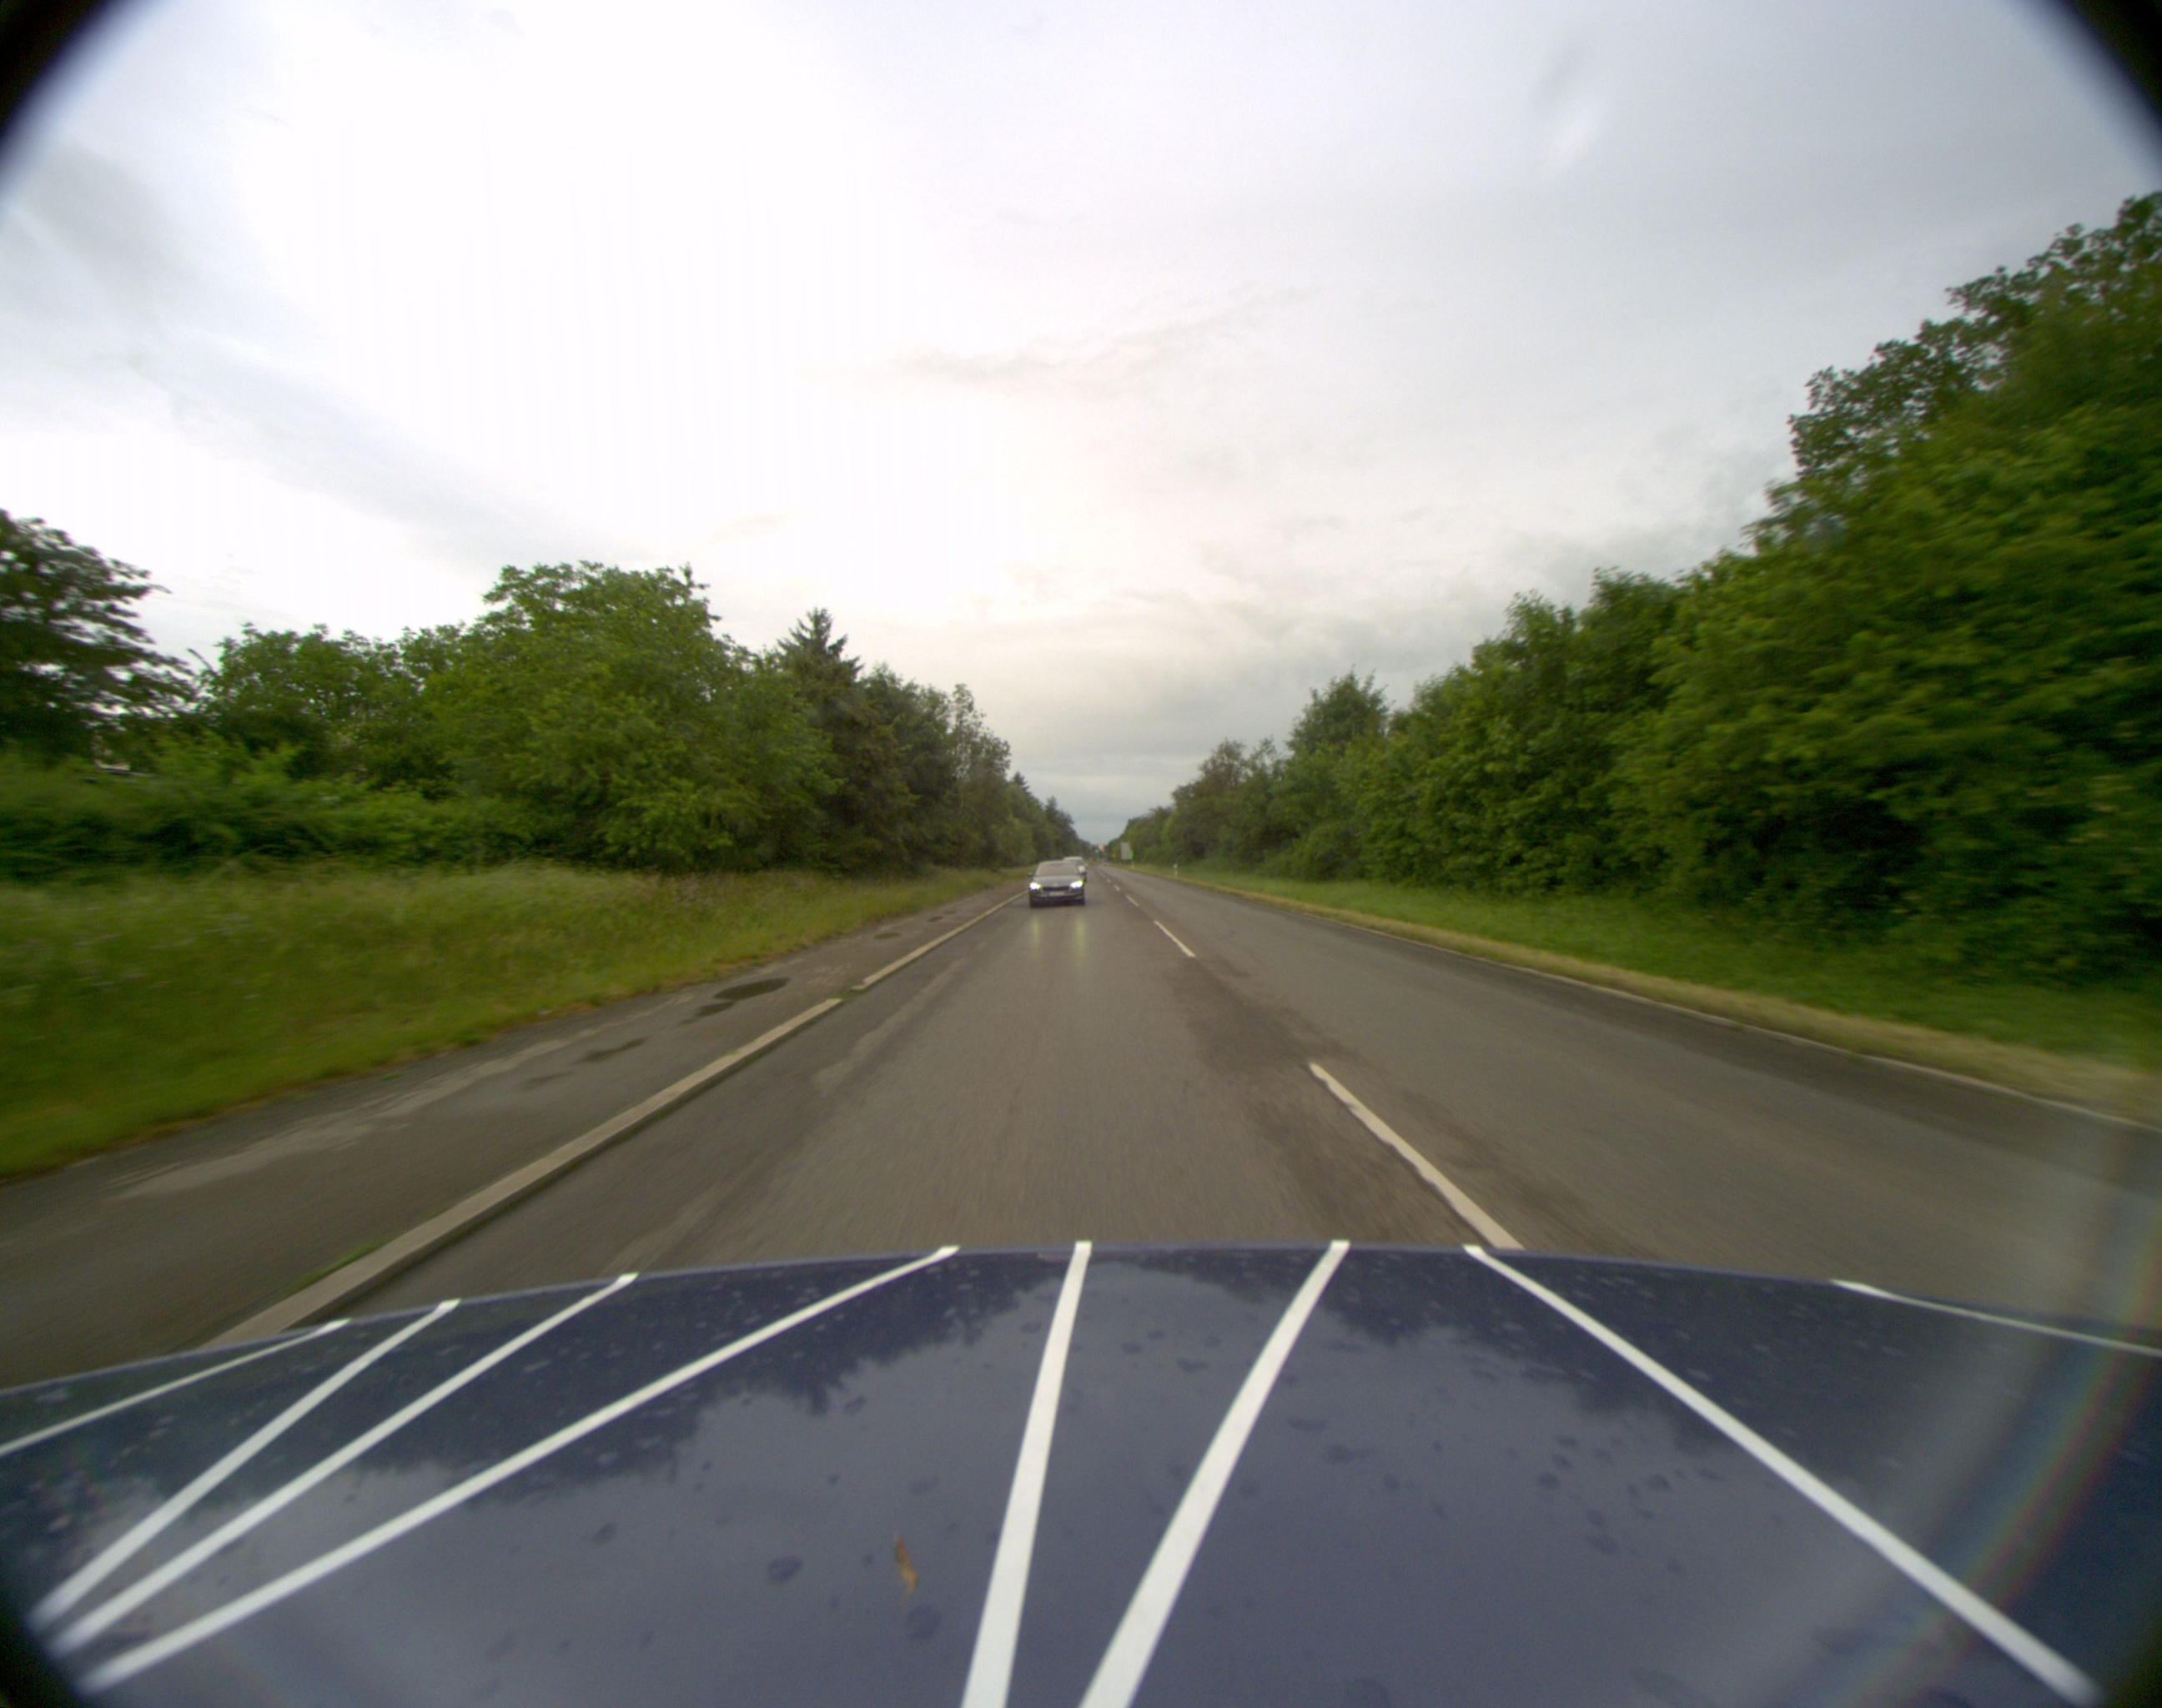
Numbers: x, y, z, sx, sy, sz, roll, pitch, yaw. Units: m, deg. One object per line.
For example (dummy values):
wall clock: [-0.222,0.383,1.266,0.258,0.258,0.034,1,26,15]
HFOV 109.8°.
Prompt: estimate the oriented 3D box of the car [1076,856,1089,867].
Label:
car: [0.262,1.136,116.993,1.856,1.686,4.000,0,0,1]

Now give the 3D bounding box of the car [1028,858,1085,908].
car: [-0.741,0.929,25.696,1.675,1.477,4.215,-3,-1,0]

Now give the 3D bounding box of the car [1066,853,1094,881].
car: [-0.070,0.837,49.976,1.704,1.723,3.999,-1,0,-1]
